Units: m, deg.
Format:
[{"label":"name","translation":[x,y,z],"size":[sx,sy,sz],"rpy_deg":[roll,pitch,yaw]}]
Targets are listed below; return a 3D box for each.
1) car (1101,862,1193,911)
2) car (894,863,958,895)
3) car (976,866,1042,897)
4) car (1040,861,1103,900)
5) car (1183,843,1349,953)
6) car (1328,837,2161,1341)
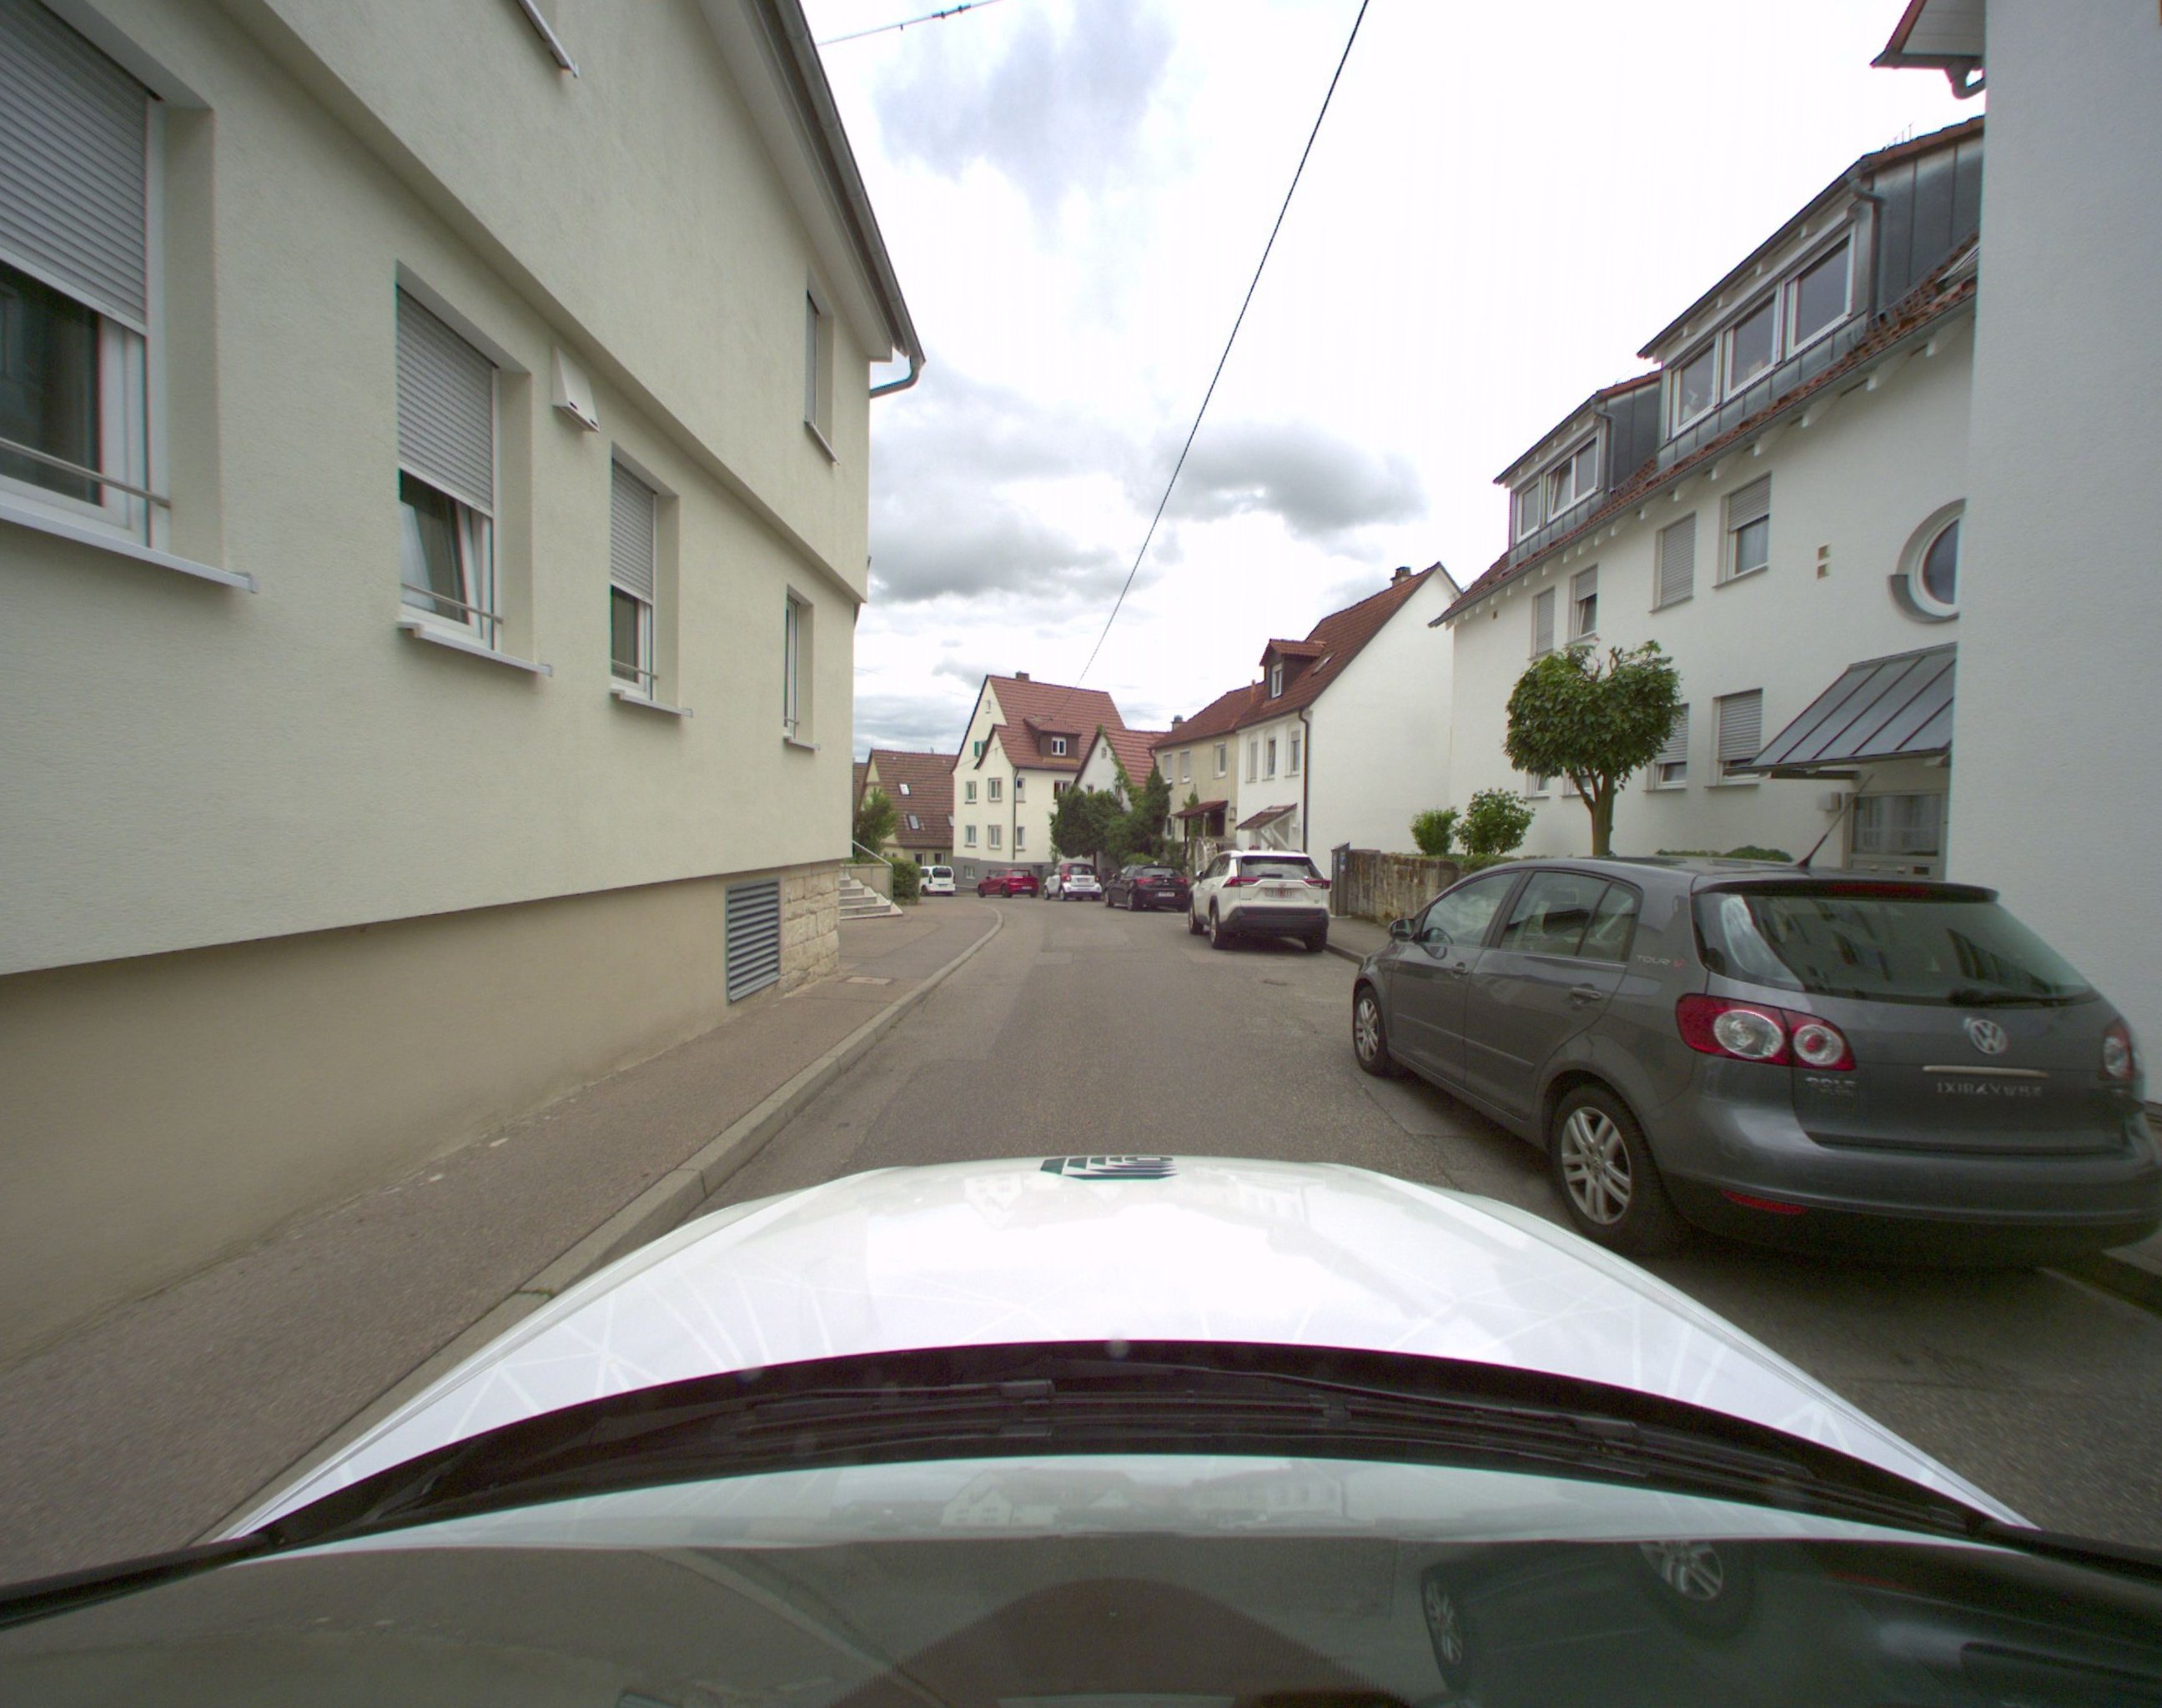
[{"label":"car","translation":[1.972,0.978,25.656],"size":[1.720,1.407,3.984],"rpy_deg":[1,-1,-14]},{"label":"car","translation":[-9.238,1.500,48.316],"size":[1.851,1.815,4.252],"rpy_deg":[2,-3,-41]},{"label":"car","translation":[-3.598,1.352,40.079],"size":[1.690,1.452,3.811],"rpy_deg":[1,-3,-33]},{"label":"car","translation":[-0.441,1.116,34.009],"size":[1.618,1.533,2.874],"rpy_deg":[3,-3,-23]},{"label":"car","translation":[3.145,0.666,14.835],"size":[1.940,1.639,4.459],"rpy_deg":[2,0,-1]},{"label":"car","translation":[2.888,0.761,4.562],"size":[1.730,1.564,3.907],"rpy_deg":[2,0,-1]}]
